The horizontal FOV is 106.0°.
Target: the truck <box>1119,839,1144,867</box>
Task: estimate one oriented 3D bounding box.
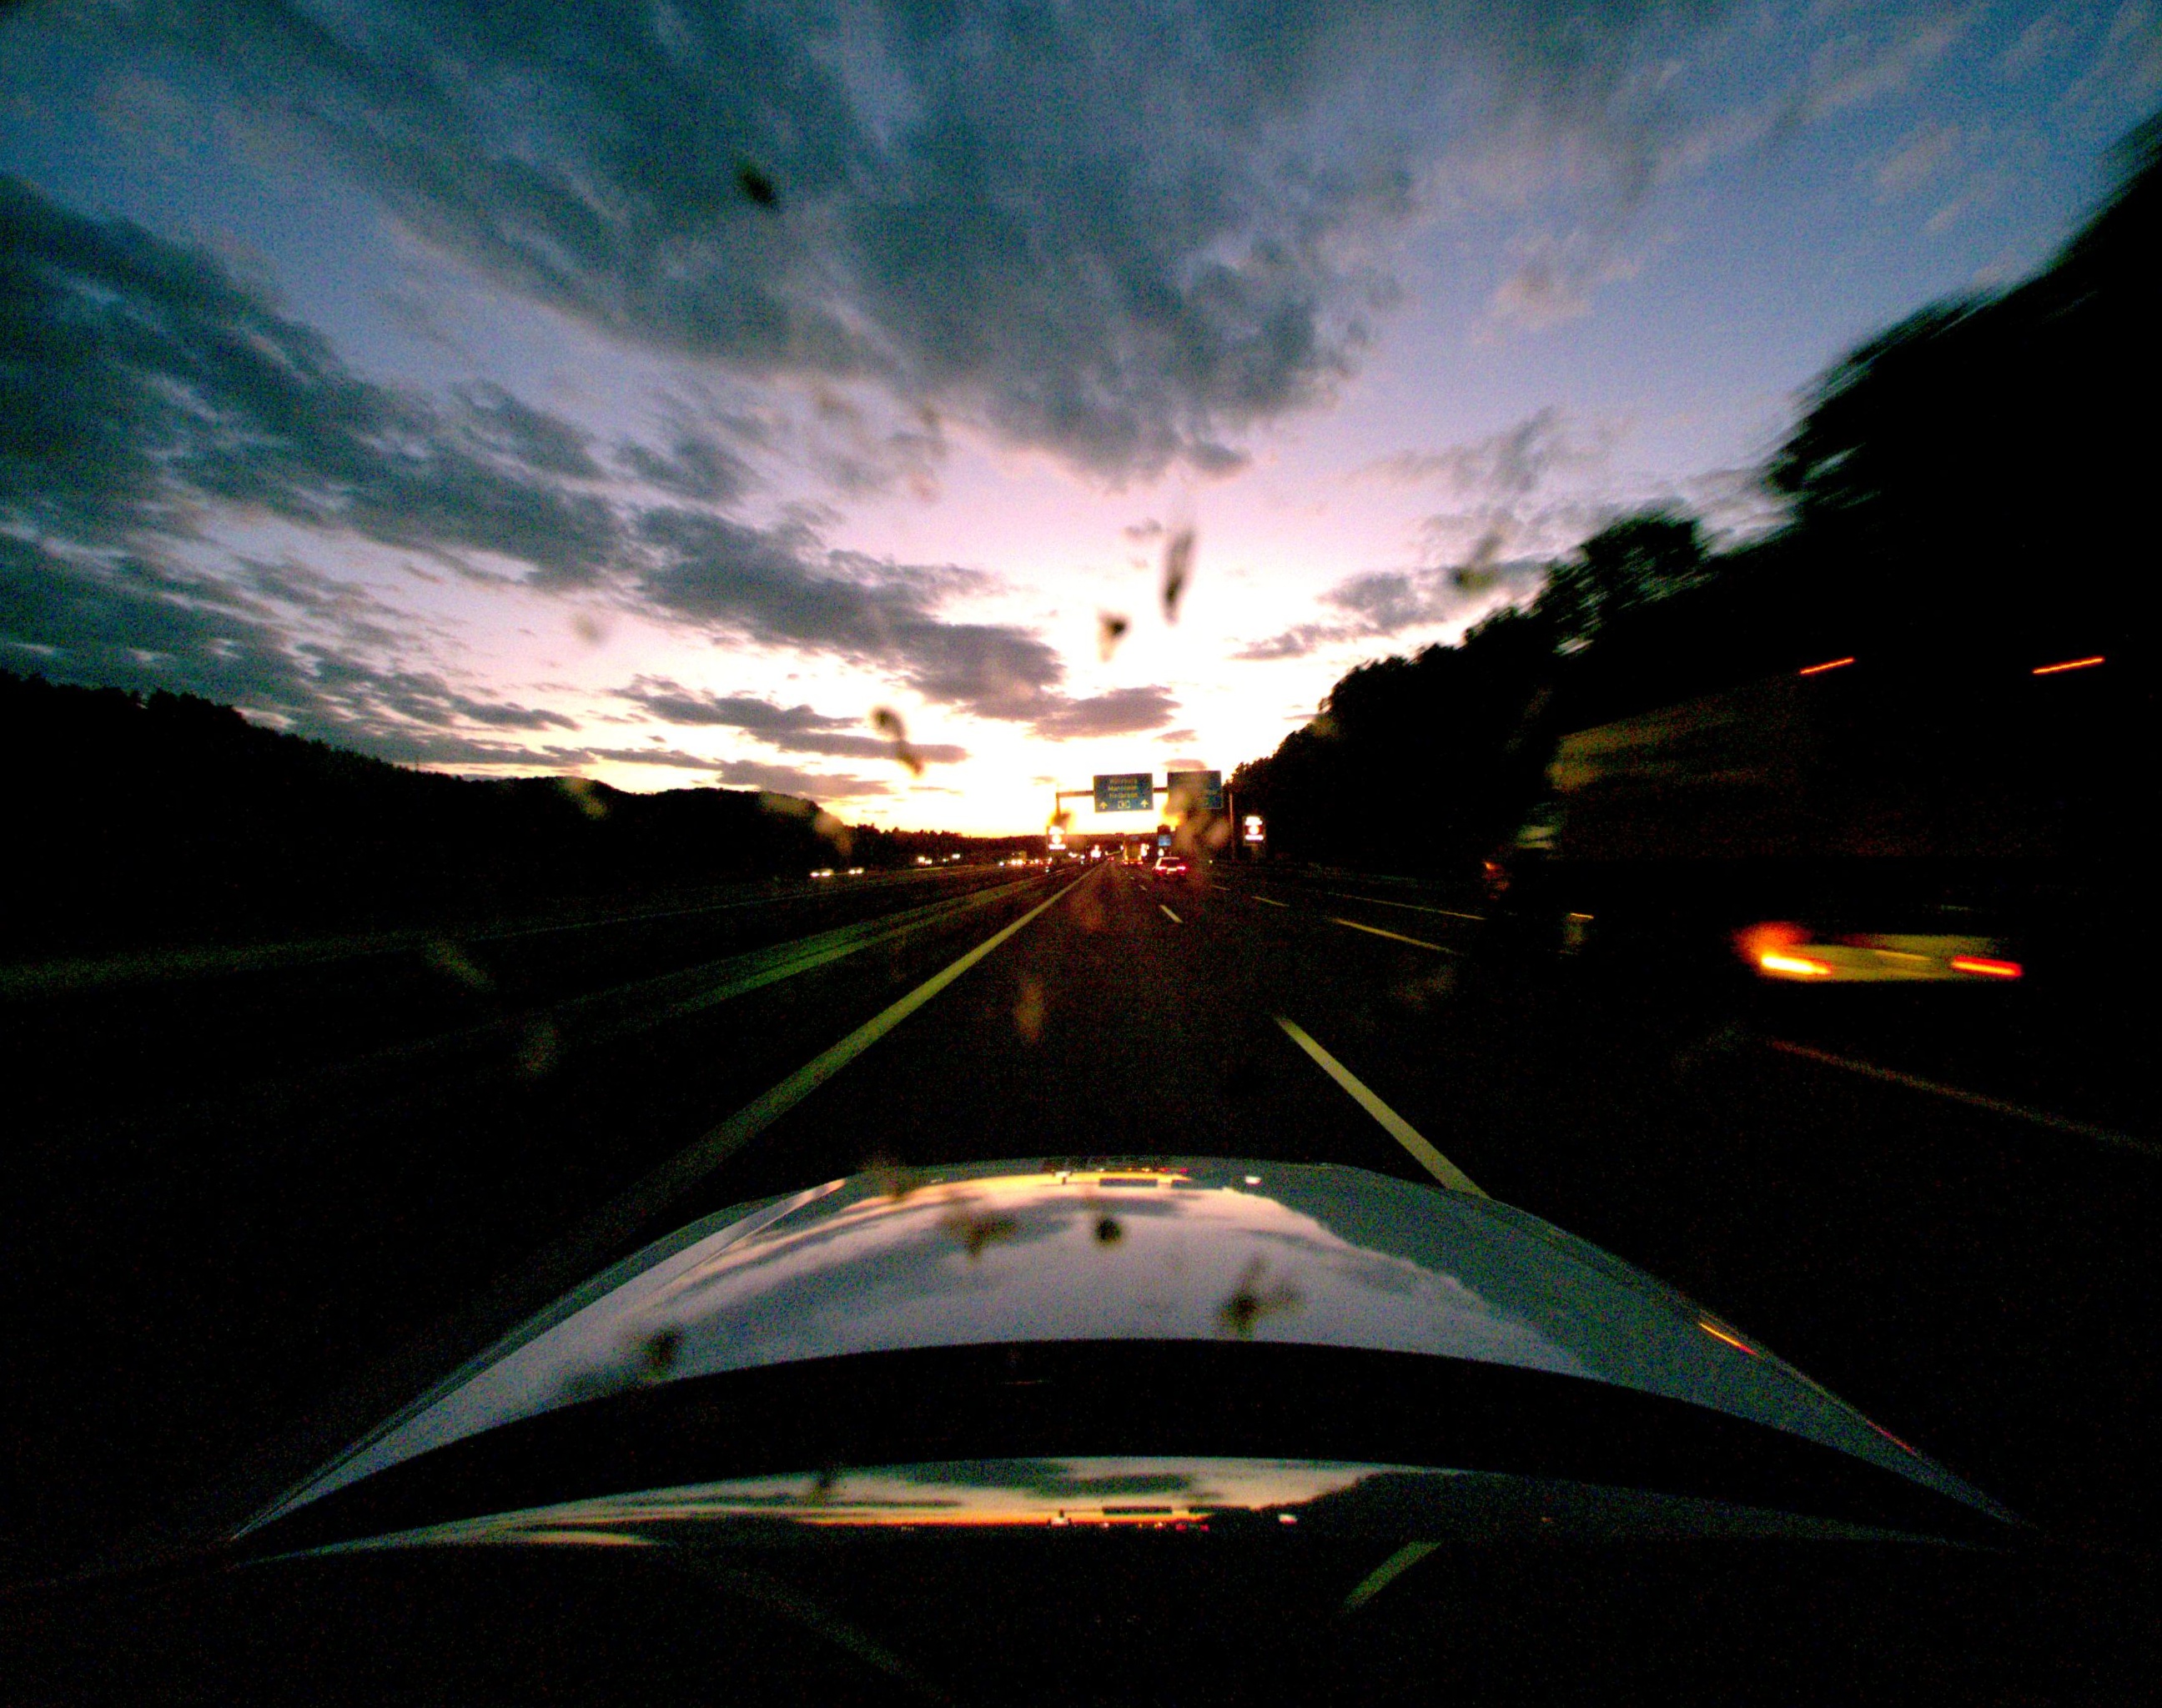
[{"bbox_3d":[8.107,-0.129,131.396,3.497,4.301,9.894,-2,-1,2],"label":"truck"}]

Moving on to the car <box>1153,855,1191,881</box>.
[{"bbox_3d":[5.492,0.850,49.530,1.908,1.442,4.002,-2,-1,2],"label":"car"}]

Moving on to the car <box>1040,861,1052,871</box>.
[{"bbox_3d":[-6.243,2.124,144.096,1.706,1.605,3.724,-2,-1,2],"label":"car"}]

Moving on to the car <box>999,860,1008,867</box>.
[{"bbox_3d":[-18.422,2.286,193.032,1.676,1.706,3.753,-1,0,2],"label":"car"}]

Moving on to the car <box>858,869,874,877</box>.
[{"bbox_3d":[-38.060,3.319,144.371,1.762,1.319,3.892,-2,-1,0],"label":"car"}]

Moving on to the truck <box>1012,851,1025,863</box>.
[{"bbox_3d":[-18.988,0.964,247.057,3.298,3.619,5.499,-2,-1,1],"label":"truck"}]

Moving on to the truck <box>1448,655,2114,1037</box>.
[{"bbox_3d":[6.956,-0.065,9.665,2.261,2.972,6.631,0,0,0],"label":"truck"}]

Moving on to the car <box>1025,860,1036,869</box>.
[{"bbox_3d":[-9.522,1.945,152.311,1.631,1.546,3.397,-2,-1,2],"label":"car"}]
